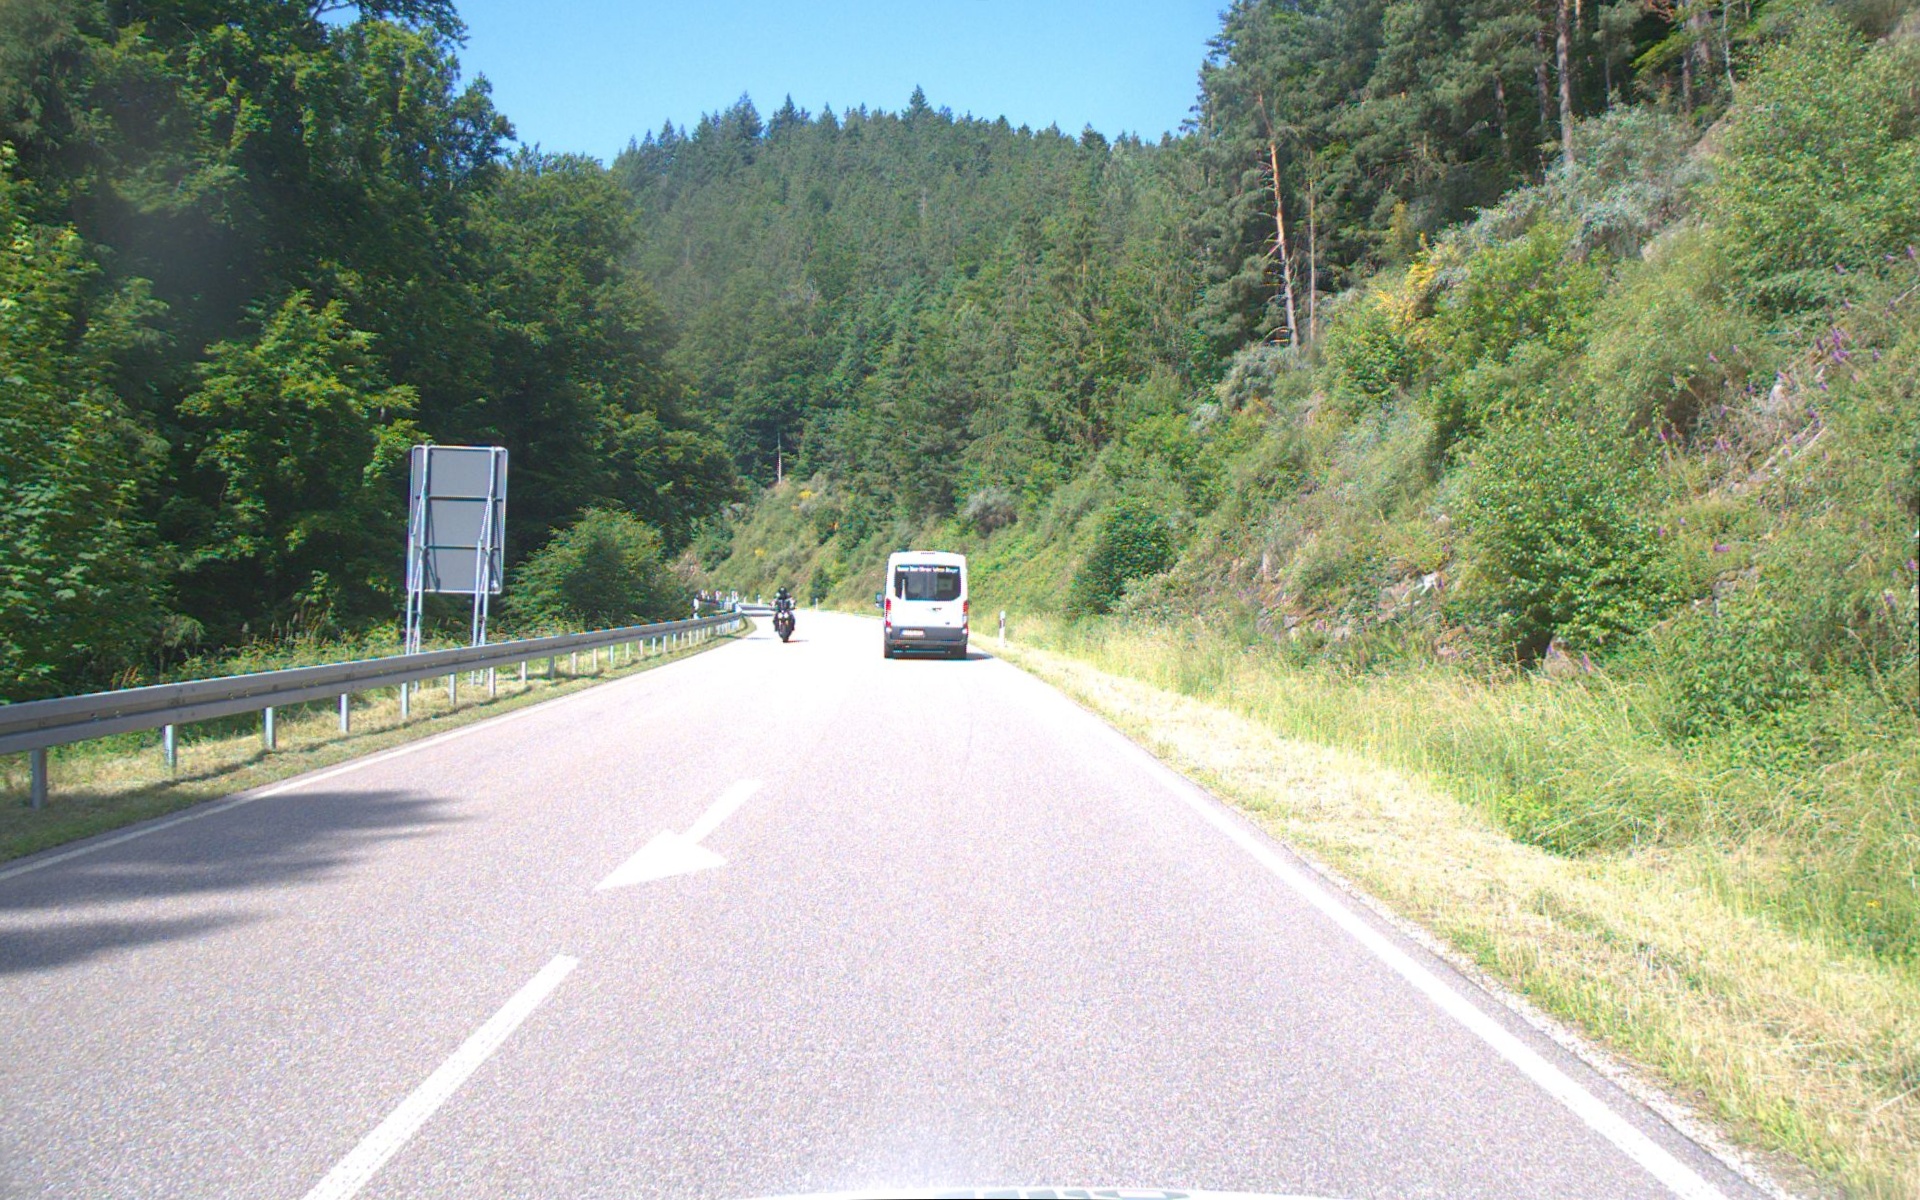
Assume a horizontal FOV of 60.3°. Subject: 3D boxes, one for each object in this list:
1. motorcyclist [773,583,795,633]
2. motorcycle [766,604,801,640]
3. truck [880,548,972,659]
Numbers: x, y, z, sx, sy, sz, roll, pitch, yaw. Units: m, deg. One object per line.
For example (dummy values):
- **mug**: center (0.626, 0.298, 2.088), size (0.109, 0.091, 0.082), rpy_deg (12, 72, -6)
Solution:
- **motorcyclist**: center (-5.529, 0.240, 51.999), size (0.645, 1.539, 0.933), rpy_deg (0, 0, -3)
- **motorcycle**: center (-5.535, 0.681, 51.954), size (0.965, 1.090, 1.962), rpy_deg (0, 0, -2)
- **truck**: center (-0.903, 0.076, 40.411), size (2.042, 2.502, 4.872), rpy_deg (1, 0, -3)
